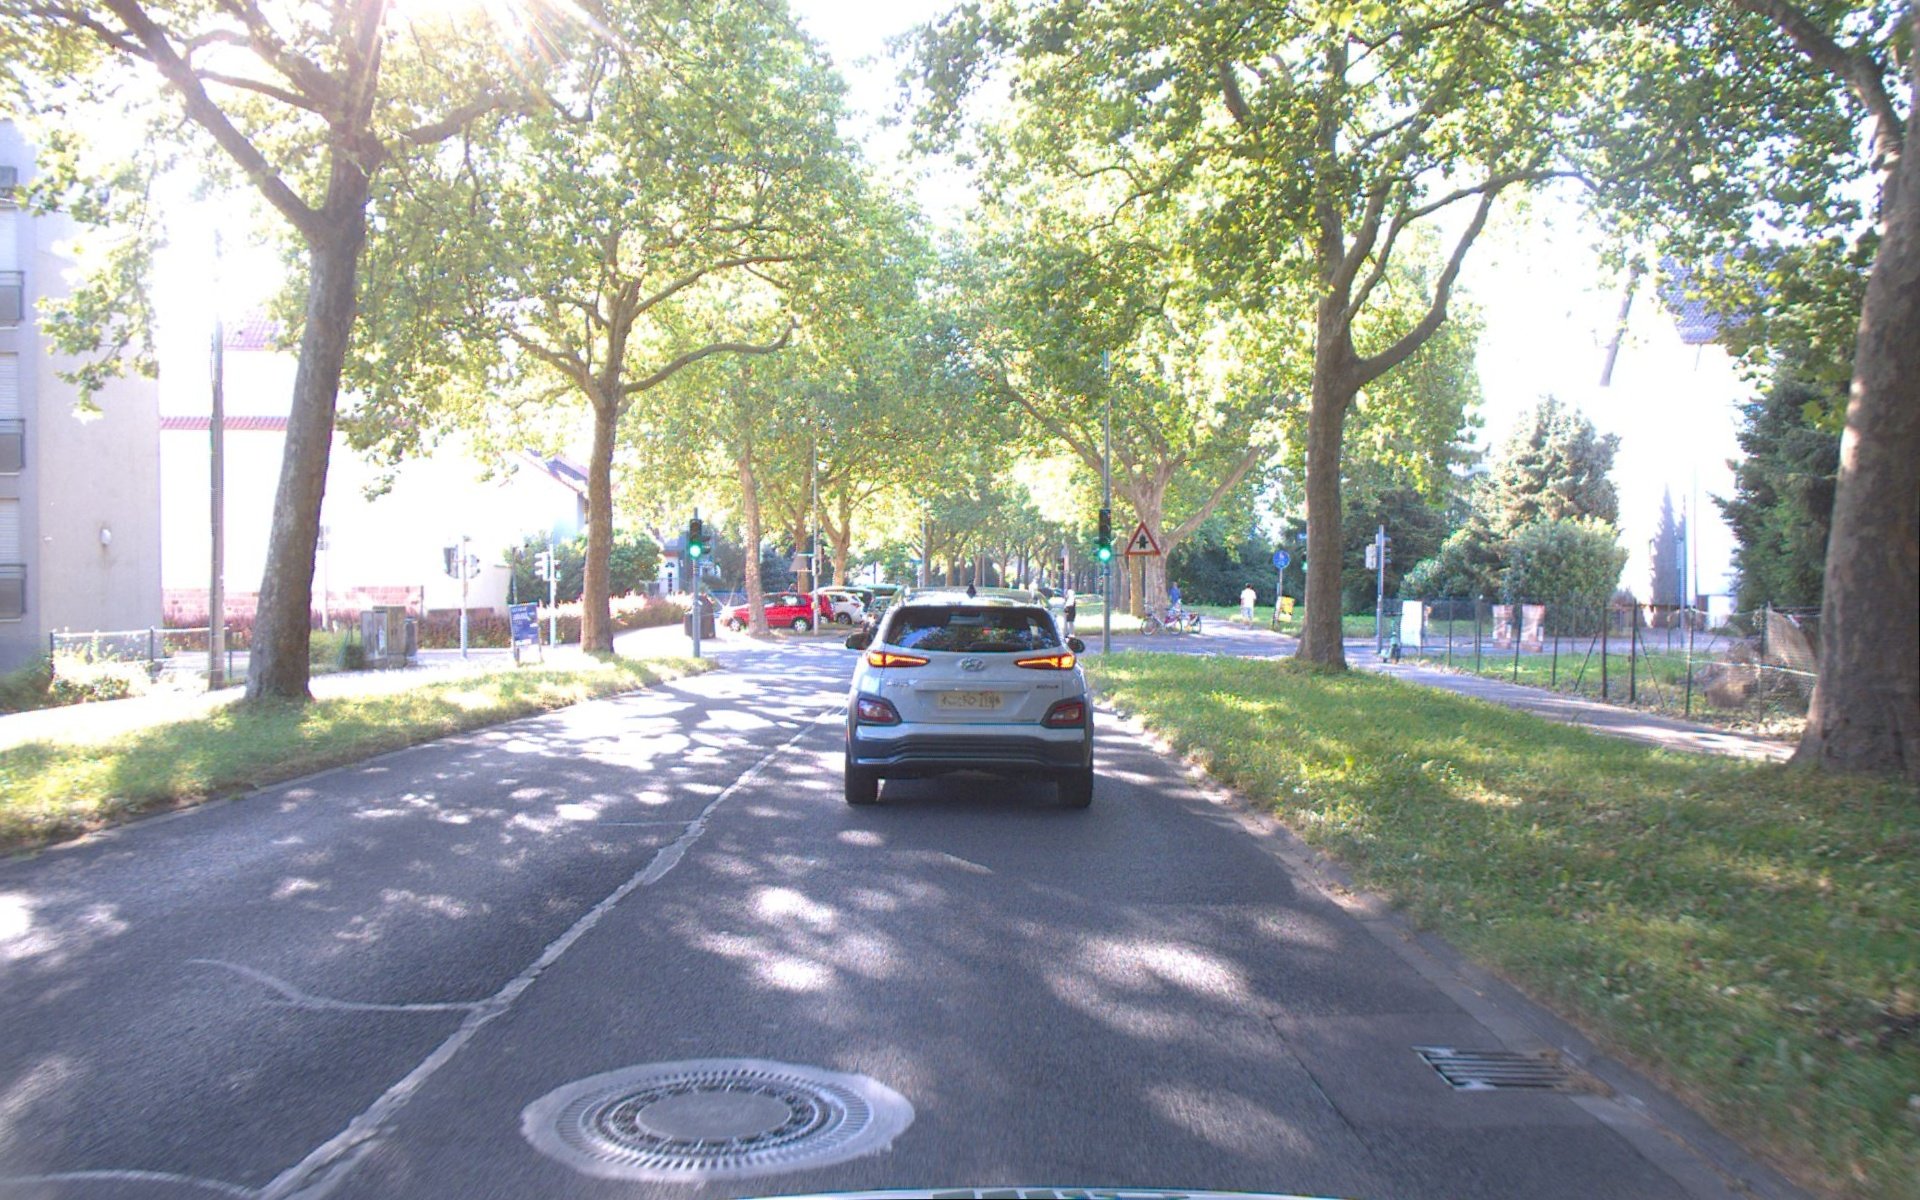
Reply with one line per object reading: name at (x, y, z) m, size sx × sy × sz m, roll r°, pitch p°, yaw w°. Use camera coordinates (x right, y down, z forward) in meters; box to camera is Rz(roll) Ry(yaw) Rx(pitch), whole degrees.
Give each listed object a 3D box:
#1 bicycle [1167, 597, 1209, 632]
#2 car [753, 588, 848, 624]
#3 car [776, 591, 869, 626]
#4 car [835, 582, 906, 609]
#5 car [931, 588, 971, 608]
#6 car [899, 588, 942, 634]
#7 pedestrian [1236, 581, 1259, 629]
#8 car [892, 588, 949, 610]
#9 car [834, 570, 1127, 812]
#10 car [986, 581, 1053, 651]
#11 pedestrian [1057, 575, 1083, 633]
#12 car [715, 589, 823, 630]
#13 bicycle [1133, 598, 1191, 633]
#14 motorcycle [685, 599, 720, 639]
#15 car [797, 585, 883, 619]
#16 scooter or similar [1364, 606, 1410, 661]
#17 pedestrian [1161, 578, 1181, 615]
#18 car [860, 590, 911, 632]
bicycle at (8.063, 0.498, 58.546) m, size 0.594 × 1.204 × 2.107 m, roll 1°, pitch 0°, yaw -19°
car at (-6.885, 0.258, 71.711) m, size 3.905 × 1.504 × 2.000 m, roll 1°, pitch 0°, yaw 1°
car at (-6.100, 0.390, 73.898) m, size 3.904 × 1.504 × 2.000 m, roll 1°, pitch 0°, yaw 1°
car at (-5.048, -0.250, 93.748) m, size 3.905 × 1.504 × 2.000 m, roll 1°, pitch 0°, yaw 1°
car at (-0.866, -0.204, 155.518) m, size 3.601 × 1.840 × 1.745 m, roll 1°, pitch 0°, yaw -9°
car at (-1.676, 0.482, 71.244) m, size 1.755 × 1.914 × 4.000 m, roll 1°, pitch 0°, yaw 0°
pedestrian at (10.874, 0.187, 62.531) m, size 0.816 × 1.766 × 0.886 m, roll 1°, pitch -1°, yaw 9°
car at (-2.787, -0.071, 117.551) m, size 3.905 × 1.504 × 2.000 m, roll 1°, pitch 0°, yaw 1°
car at (0.132, 0.620, 13.138) m, size 1.953 × 1.602 × 4.000 m, roll 1°, pitch 0°, yaw 0°
car at (1.799, 0.448, 50.251) m, size 1.952 × 2.049 × 4.001 m, roll 0°, pitch 0°, yaw 2°
pedestrian at (3.944, 0.146, 59.234) m, size 0.849 × 2.049 × 0.814 m, roll 1°, pitch -1°, yaw 8°
car at (-7.382, 0.370, 64.115) m, size 3.905 × 1.504 × 2.000 m, roll 1°, pitch 0°, yaw 1°
bicycle at (7.039, 0.534, 57.594) m, size 0.600 × 1.184 × 2.116 m, roll 1°, pitch -1°, yaw -43°
motorcycle at (-9.251, 0.668, 59.490) m, size 0.829 × 1.403 × 2.776 m, roll 1°, pitch 0°, yaw 0°
car at (-5.685, 0.100, 78.751) m, size 3.905 × 1.504 × 2.000 m, roll 1°, pitch 0°, yaw 1°
scooter or similar at (10.167, 0.782, 39.440) m, size 0.538 × 1.280 × 2.313 m, roll 1°, pitch 0°, yaw 1°
pedestrian at (11.925, -0.216, 93.673) m, size 1.071 × 2.049 × 1.106 m, roll -1°, pitch 0°, yaw 7°
car at (-2.709, 0.384, 61.021) m, size 1.653 × 1.462 × 3.682 m, roll 1°, pitch 1°, yaw 1°
